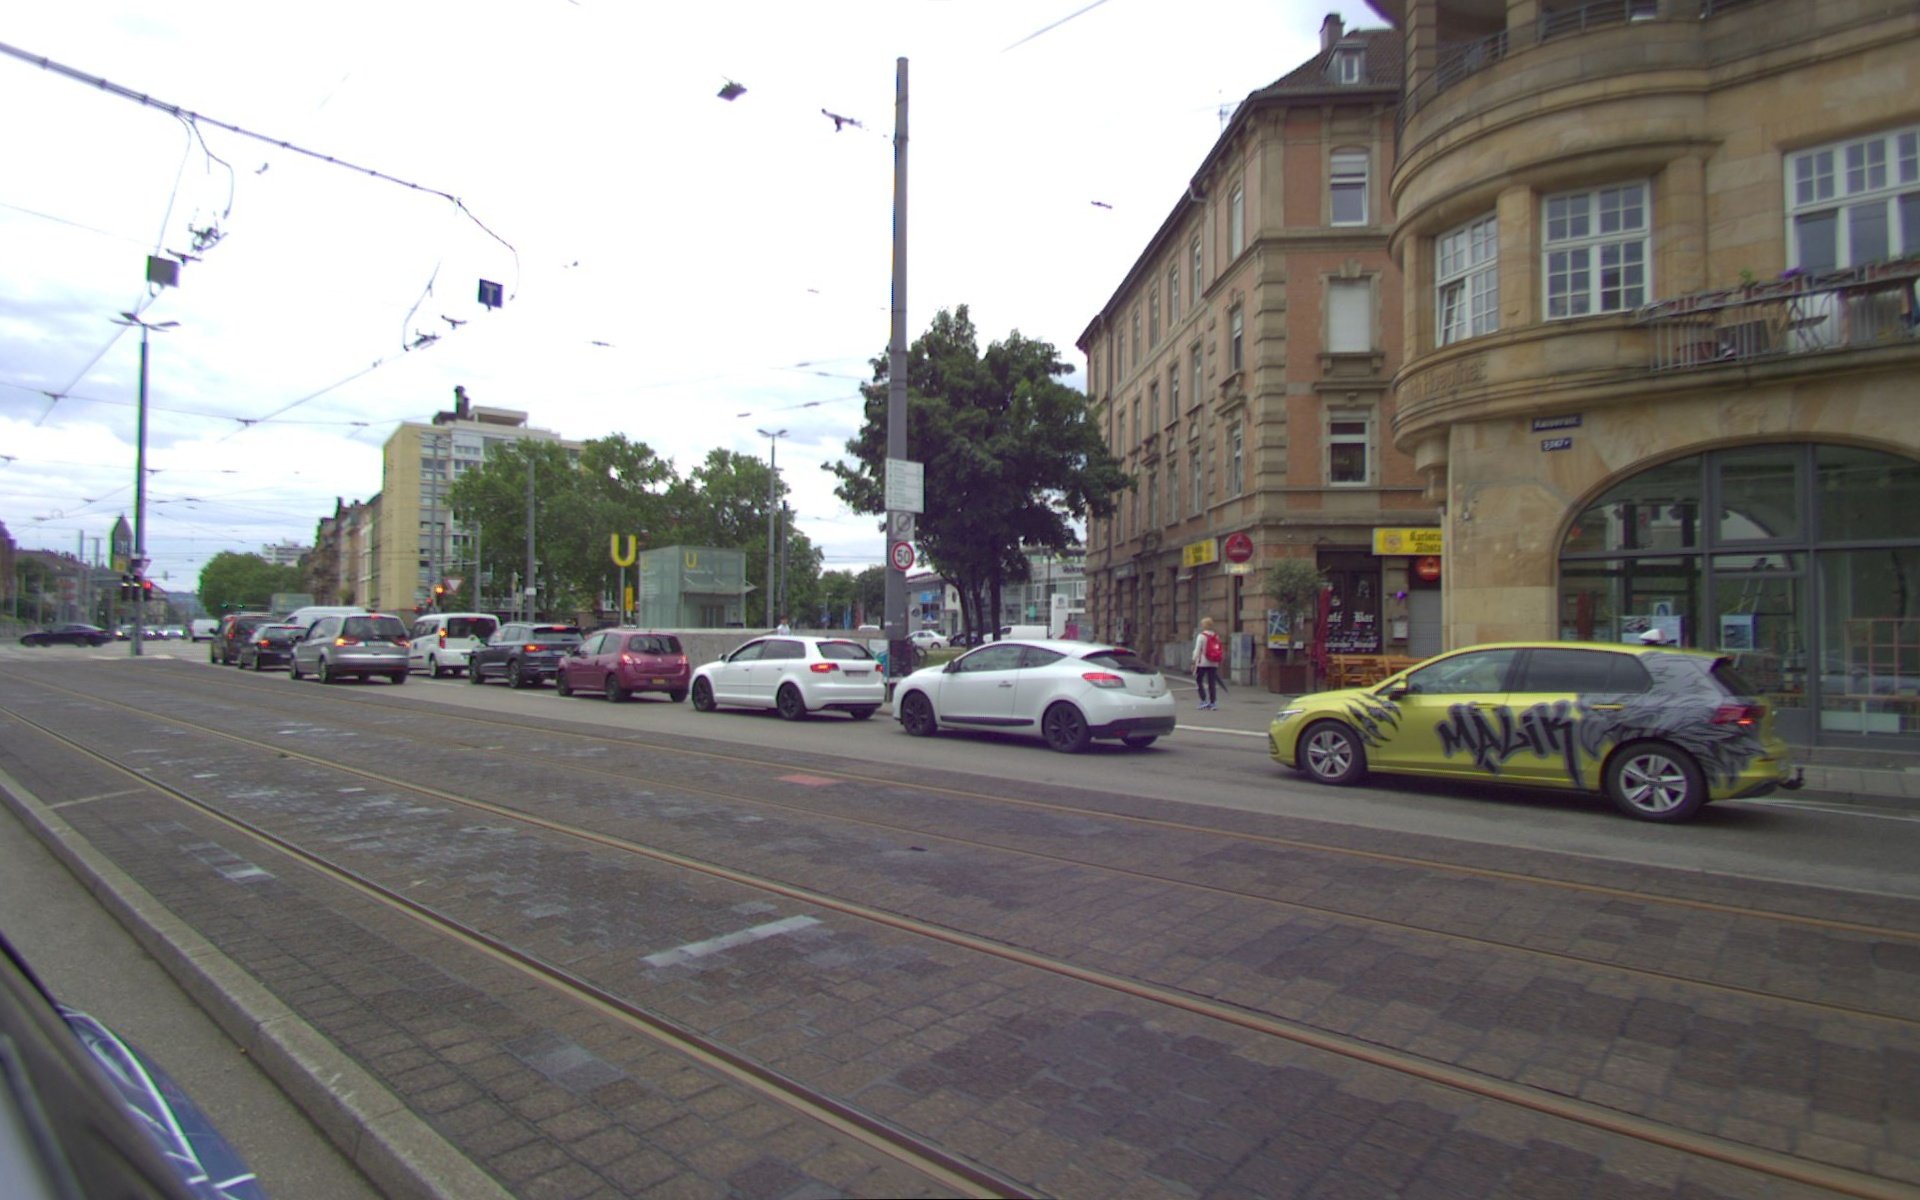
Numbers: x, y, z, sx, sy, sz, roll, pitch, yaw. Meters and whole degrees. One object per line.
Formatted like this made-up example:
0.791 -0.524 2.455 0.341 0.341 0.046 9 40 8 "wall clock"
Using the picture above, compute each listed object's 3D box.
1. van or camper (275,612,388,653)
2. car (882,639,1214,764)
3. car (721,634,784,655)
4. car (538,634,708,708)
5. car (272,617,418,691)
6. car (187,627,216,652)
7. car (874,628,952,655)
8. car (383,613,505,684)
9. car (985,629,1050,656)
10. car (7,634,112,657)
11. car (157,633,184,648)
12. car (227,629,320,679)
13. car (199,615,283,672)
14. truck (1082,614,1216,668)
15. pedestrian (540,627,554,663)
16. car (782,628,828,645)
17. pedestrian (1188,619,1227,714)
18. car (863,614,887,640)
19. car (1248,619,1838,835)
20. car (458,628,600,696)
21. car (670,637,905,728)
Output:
-42.067 2.159 67.925 5.954 2.631 2.428 1 -1 -9 "van or camper"
1.054 1.237 13.698 4.259 1.390 1.904 -2 -3 44 "car"
-14.829 3.190 72.614 4.209 1.431 1.641 0 -2 -1 "car"
-7.240 1.473 21.583 3.897 1.410 1.841 -2 -5 45 "car"
-15.707 1.349 25.733 4.908 1.719 1.843 -2 -4 43 "car"
-63.753 3.278 85.019 1.892 1.896 5.100 2 -1 -37 "car"
-3.339 2.979 72.675 5.379 1.870 2.160 0 -2 6 "car"
-15.505 1.415 30.294 1.841 1.931 5.105 2 -3 -44 "car"
4.075 2.988 71.849 4.470 1.853 1.995 0 -2 8 "car"
-57.120 2.885 64.261 4.587 1.431 2.004 0 -2 -9 "car"
-76.421 3.936 97.998 1.968 1.453 4.007 2 -3 -39 "car"
-21.560 1.644 31.721 1.669 1.453 4.002 2 -3 -45 "car"
-25.436 1.505 35.744 1.669 1.915 4.389 2 -3 -45 "car"
13.252 2.826 71.325 9.126 3.576 2.793 0 -1 12 "truck"
-20.375 2.201 49.934 0.592 1.741 0.915 1 -2 -23 "pedestrian"
-13.351 3.132 87.243 3.684 1.431 1.641 0 -2 -1 "car"
4.602 1.217 18.834 0.628 1.732 0.529 -1 -2 23 "pedestrian"
-6.975 2.217 82.937 1.744 2.029 4.006 1 -1 -7 "car"
5.150 0.994 9.396 4.429 1.522 1.877 -2 -4 44 "car"
-10.938 1.529 25.521 1.841 1.546 4.305 5 -4 -44 "car"
-3.133 1.393 17.847 4.361 1.390 1.727 -2 -5 43 "car"
